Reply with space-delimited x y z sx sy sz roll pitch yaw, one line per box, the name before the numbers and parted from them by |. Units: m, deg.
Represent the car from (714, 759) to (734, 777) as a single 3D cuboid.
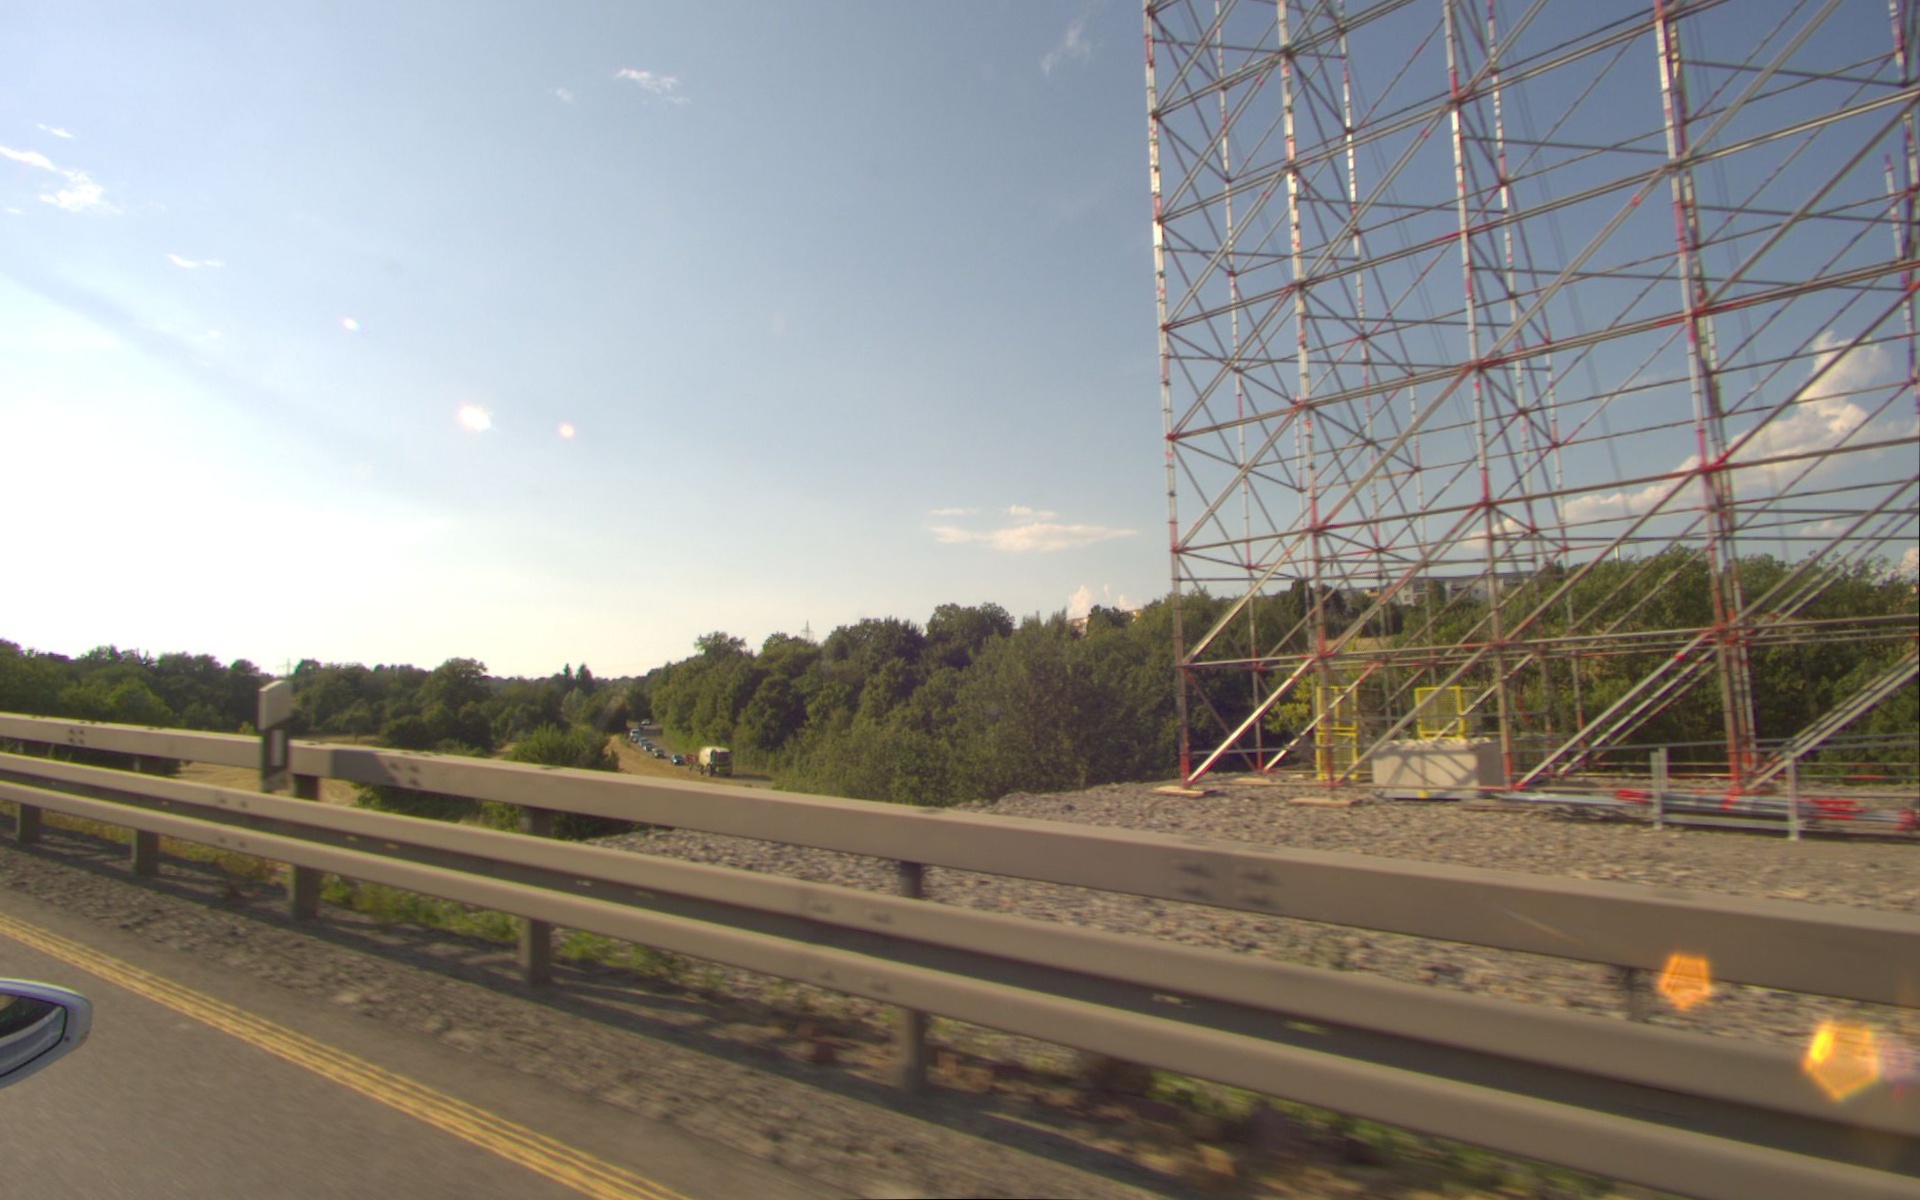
car | -33.364 23.784 141.714 1.854 2.039 3.984 0 -2 -27
